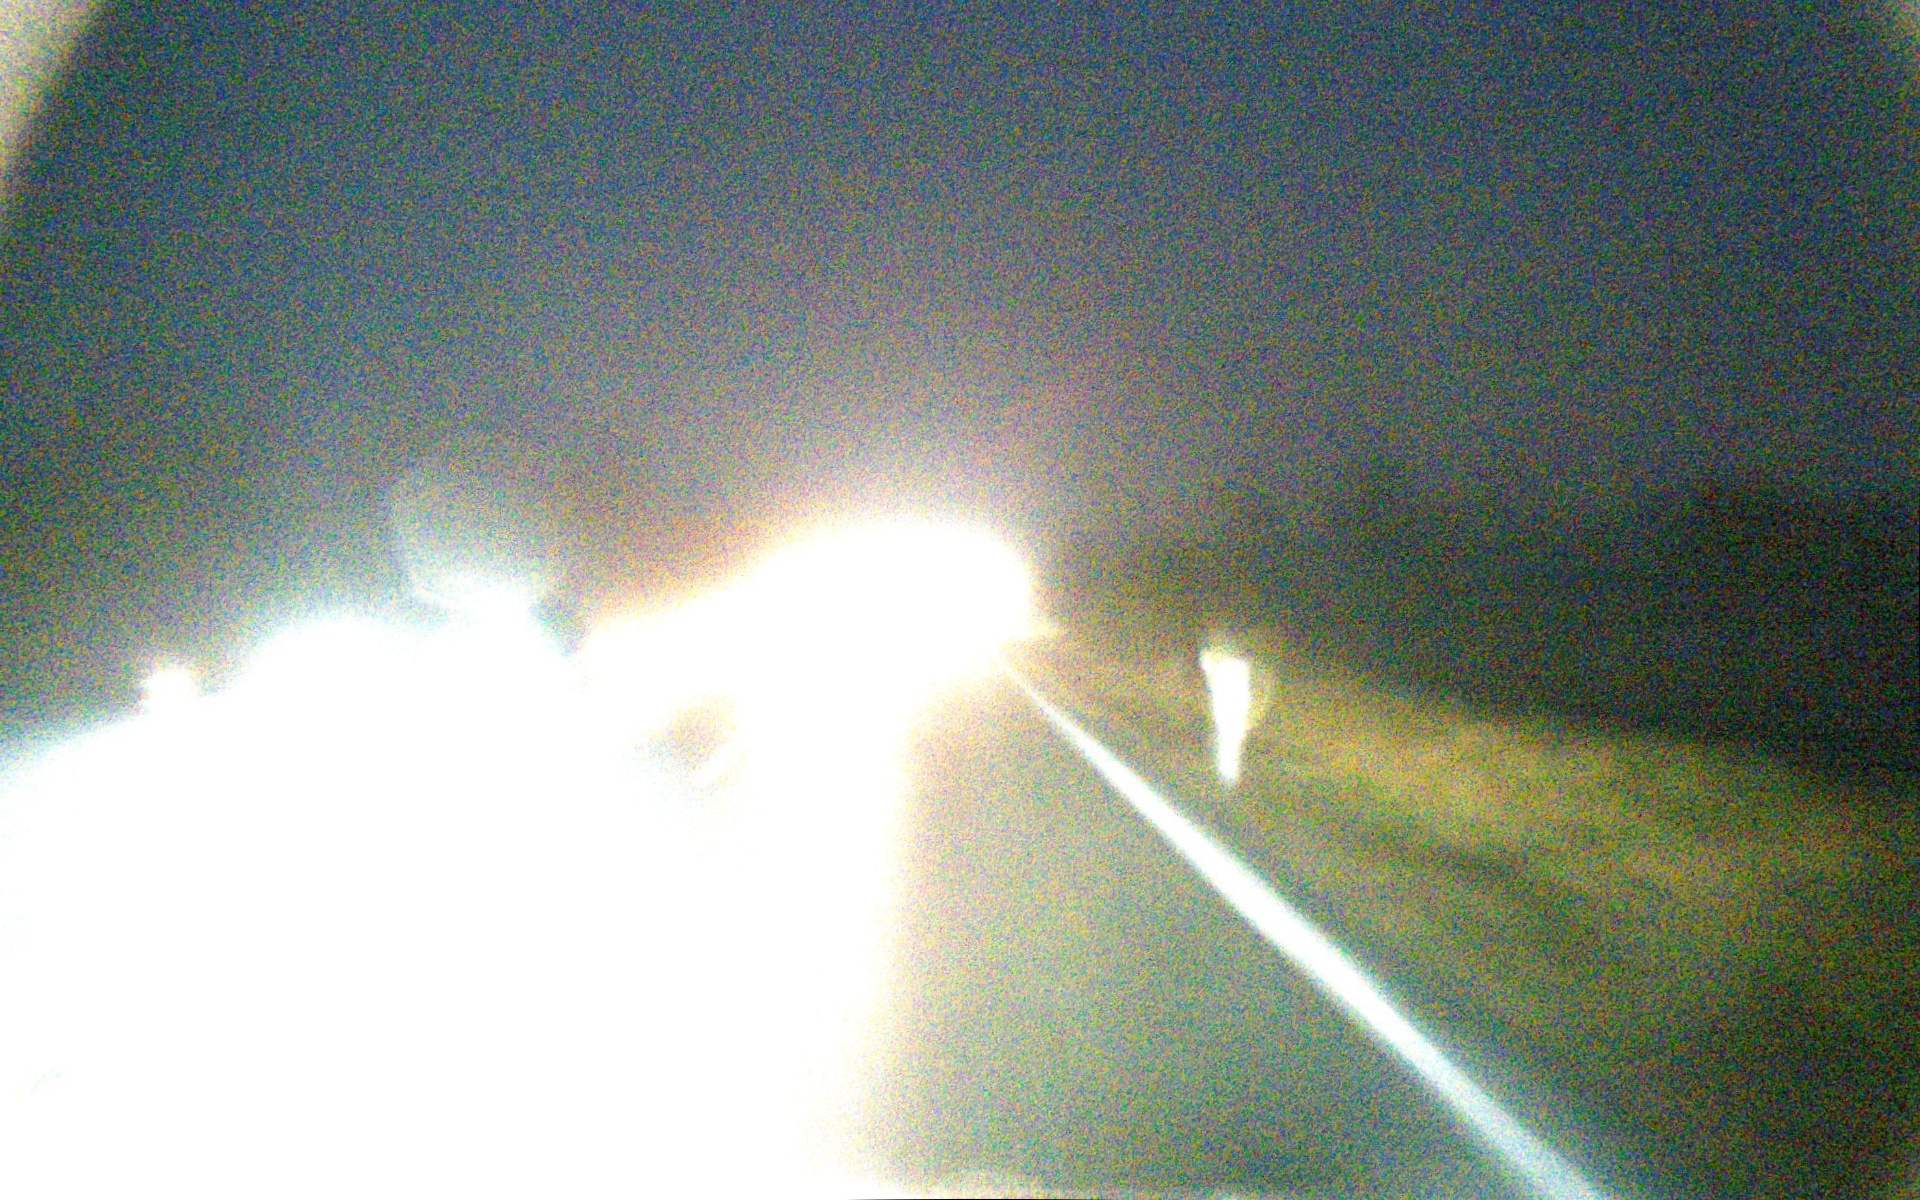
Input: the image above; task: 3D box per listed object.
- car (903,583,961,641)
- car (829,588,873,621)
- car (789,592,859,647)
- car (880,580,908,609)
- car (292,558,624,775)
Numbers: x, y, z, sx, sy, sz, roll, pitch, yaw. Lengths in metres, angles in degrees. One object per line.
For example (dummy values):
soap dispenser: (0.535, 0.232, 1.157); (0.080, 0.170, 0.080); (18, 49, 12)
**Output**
car: (-0.979, 0.376, 55.891); (1.805, 1.770, 3.999); (2, 1, -2)
car: (-4.966, 0.213, 75.918); (1.782, 1.467, 3.999); (1, 0, -1)
car: (-4.402, 0.615, 53.897); (1.953, 1.690, 3.999); (1, 0, -1)
car: (-4.601, -0.344, 115.638); (1.766, 1.962, 4.000); (1, 0, 0)
car: (-4.406, 0.569, 15.199); (1.954, 1.690, 3.997); (1, -1, -3)
